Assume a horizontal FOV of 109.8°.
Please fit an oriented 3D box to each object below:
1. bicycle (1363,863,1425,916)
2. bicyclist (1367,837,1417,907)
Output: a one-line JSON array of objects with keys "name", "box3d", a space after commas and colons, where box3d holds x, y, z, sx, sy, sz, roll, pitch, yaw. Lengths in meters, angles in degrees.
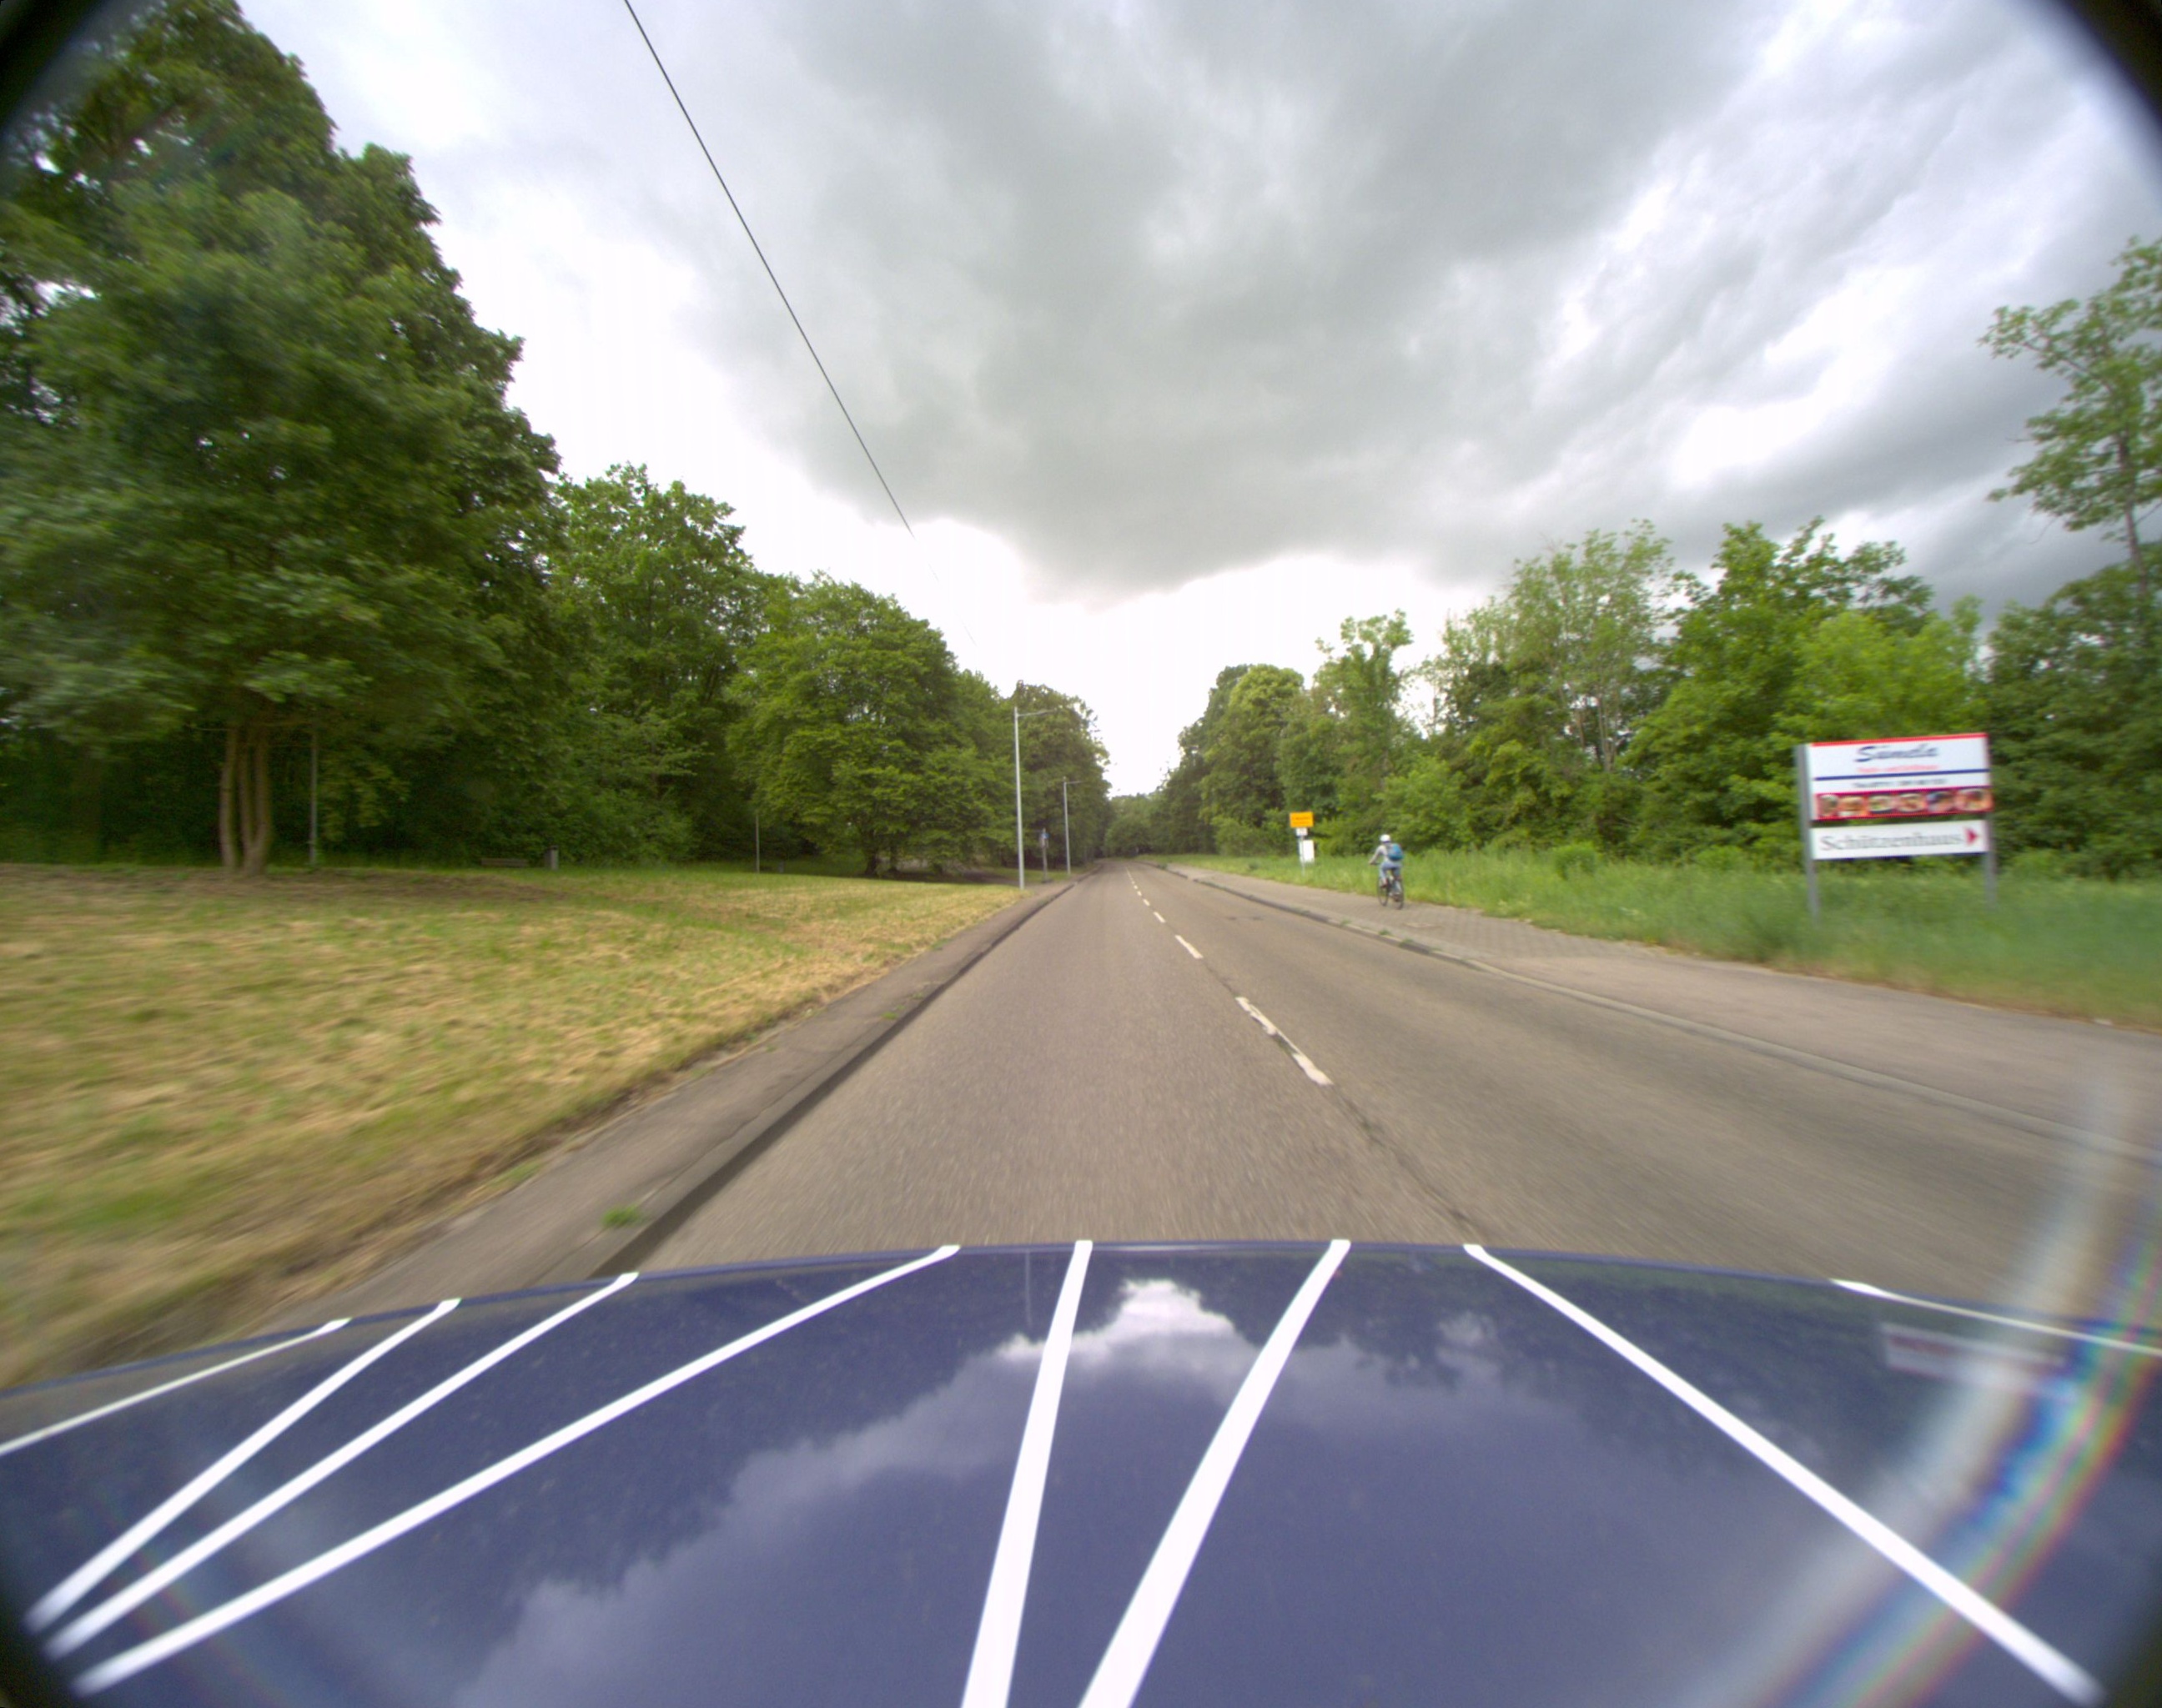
[{"name": "bicycle", "box3d": [7.053, 0.767, 17.246, 0.667, 1.068, 2.146, -2, 0, 5]}, {"name": "bicyclist", "box3d": [7.038, 0.401, 17.241, 0.667, 1.511, 1.271, -2, 1, 5]}]
